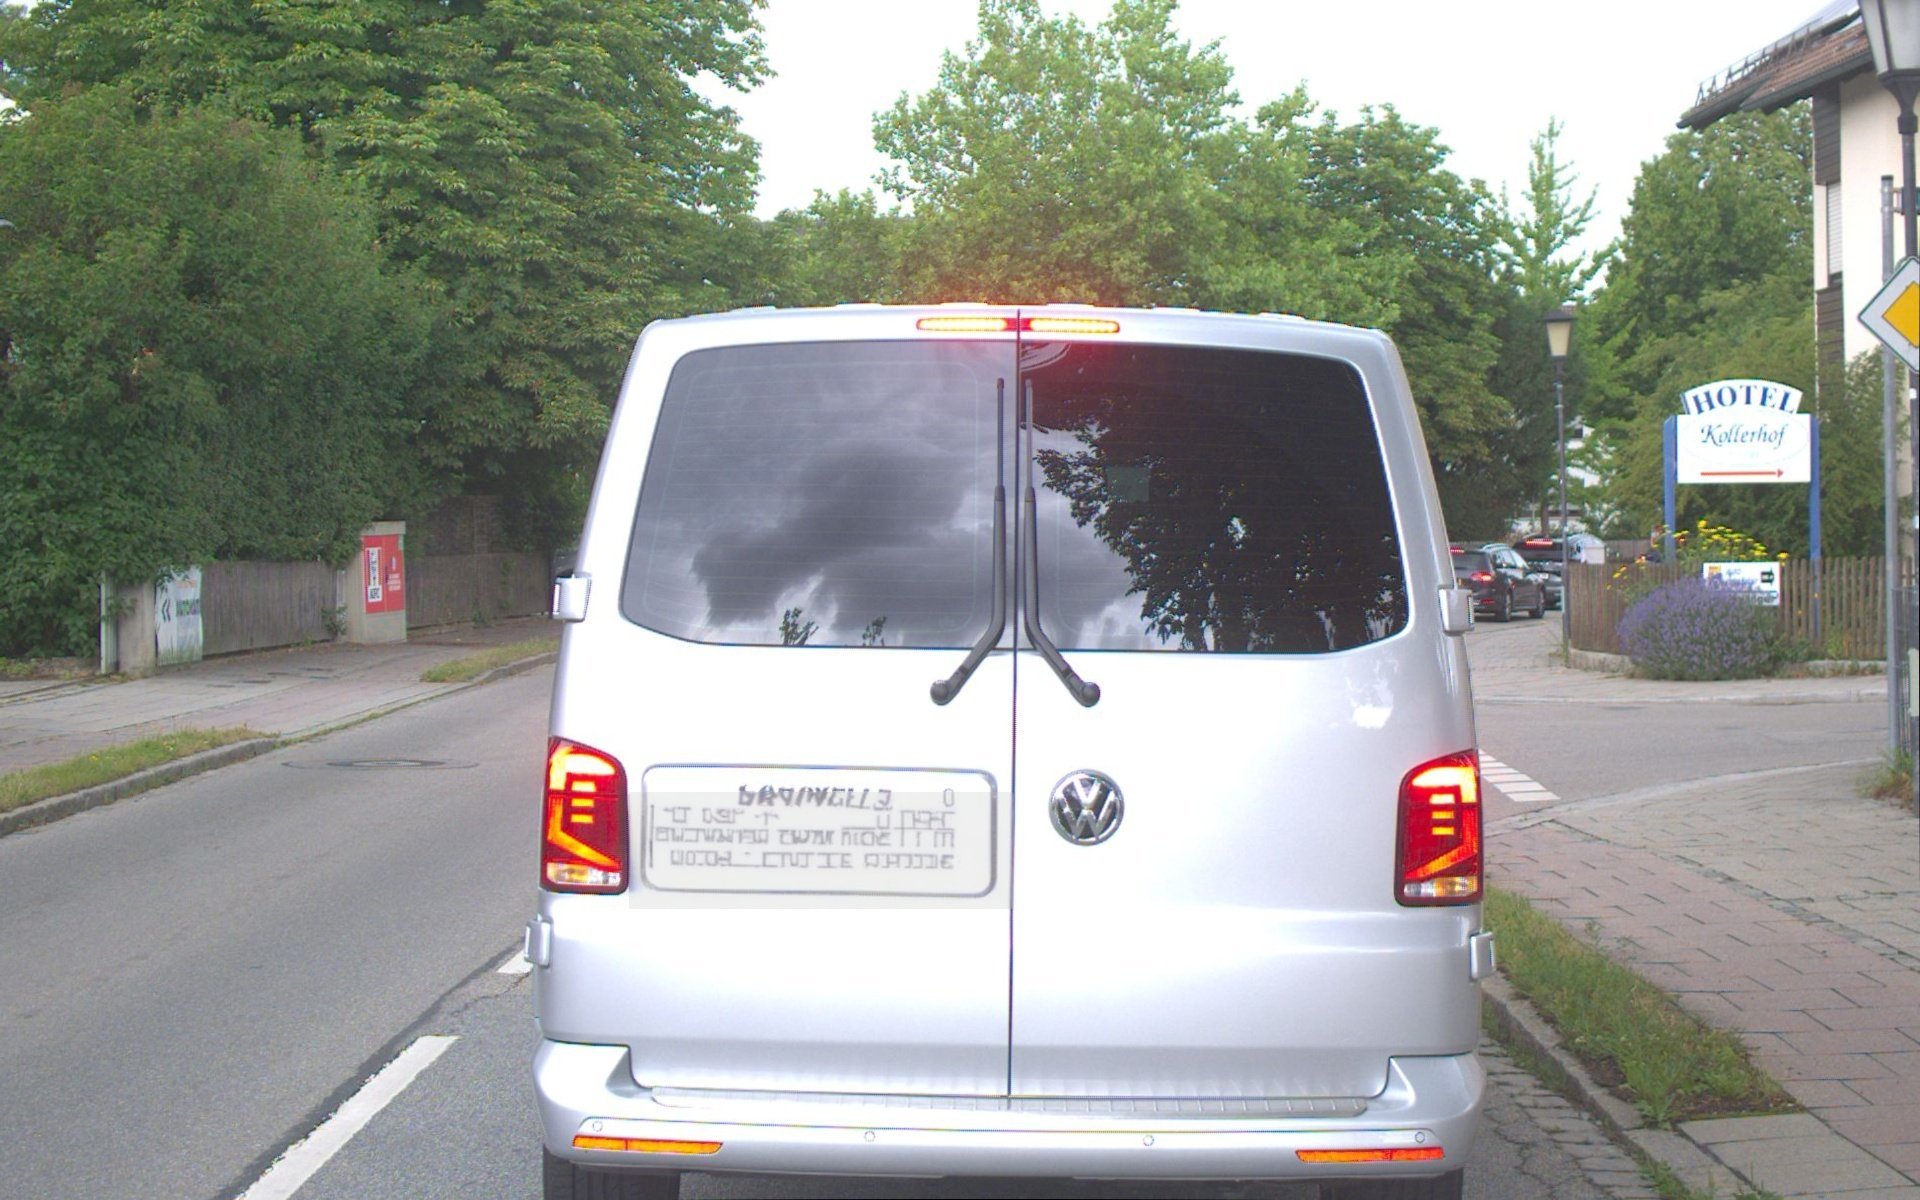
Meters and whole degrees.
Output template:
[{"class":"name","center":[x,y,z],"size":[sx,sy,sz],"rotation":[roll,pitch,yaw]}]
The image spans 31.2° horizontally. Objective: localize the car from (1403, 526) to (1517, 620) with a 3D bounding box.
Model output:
[{"class":"car","center":[9.577,-0.536,65.624],"size":[1.882,1.742,4.078],"rotation":[0,1,12]}]

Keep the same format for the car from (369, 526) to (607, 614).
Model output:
[{"class":"car","center":[-8.107,-0.530,59.120],"size":[3.986,1.481,2.001],"rotation":[0,1,-8]}]

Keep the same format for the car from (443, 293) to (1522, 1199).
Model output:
[{"class":"car","center":[0.052,0.400,7.998],"size":[1.881,1.934,3.921],"rotation":[0,1,0]}]

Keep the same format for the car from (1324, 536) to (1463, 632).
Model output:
[{"class":"car","center":[7.255,-0.284,57.304],"size":[1.882,1.530,3.918],"rotation":[0,1,13]}]

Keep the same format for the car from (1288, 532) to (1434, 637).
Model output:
[{"class":"car","center":[6.173,-0.259,52.572],"size":[1.882,1.530,3.919],"rotation":[0,1,12]}]

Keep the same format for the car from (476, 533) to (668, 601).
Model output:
[{"class":"car","center":[-7.854,-0.673,69.439],"size":[3.749,1.341,1.584],"rotation":[0,1,-10]}]

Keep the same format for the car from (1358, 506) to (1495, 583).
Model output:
[{"class":"car","center":[11.453,-1.364,84.160],"size":[1.884,1.819,3.914],"rotation":[0,1,32]}]

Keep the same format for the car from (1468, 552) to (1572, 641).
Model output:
[{"class":"car","center":[11.894,-0.096,72.857],"size":[1.882,1.819,3.918],"rotation":[0,1,13]}]
